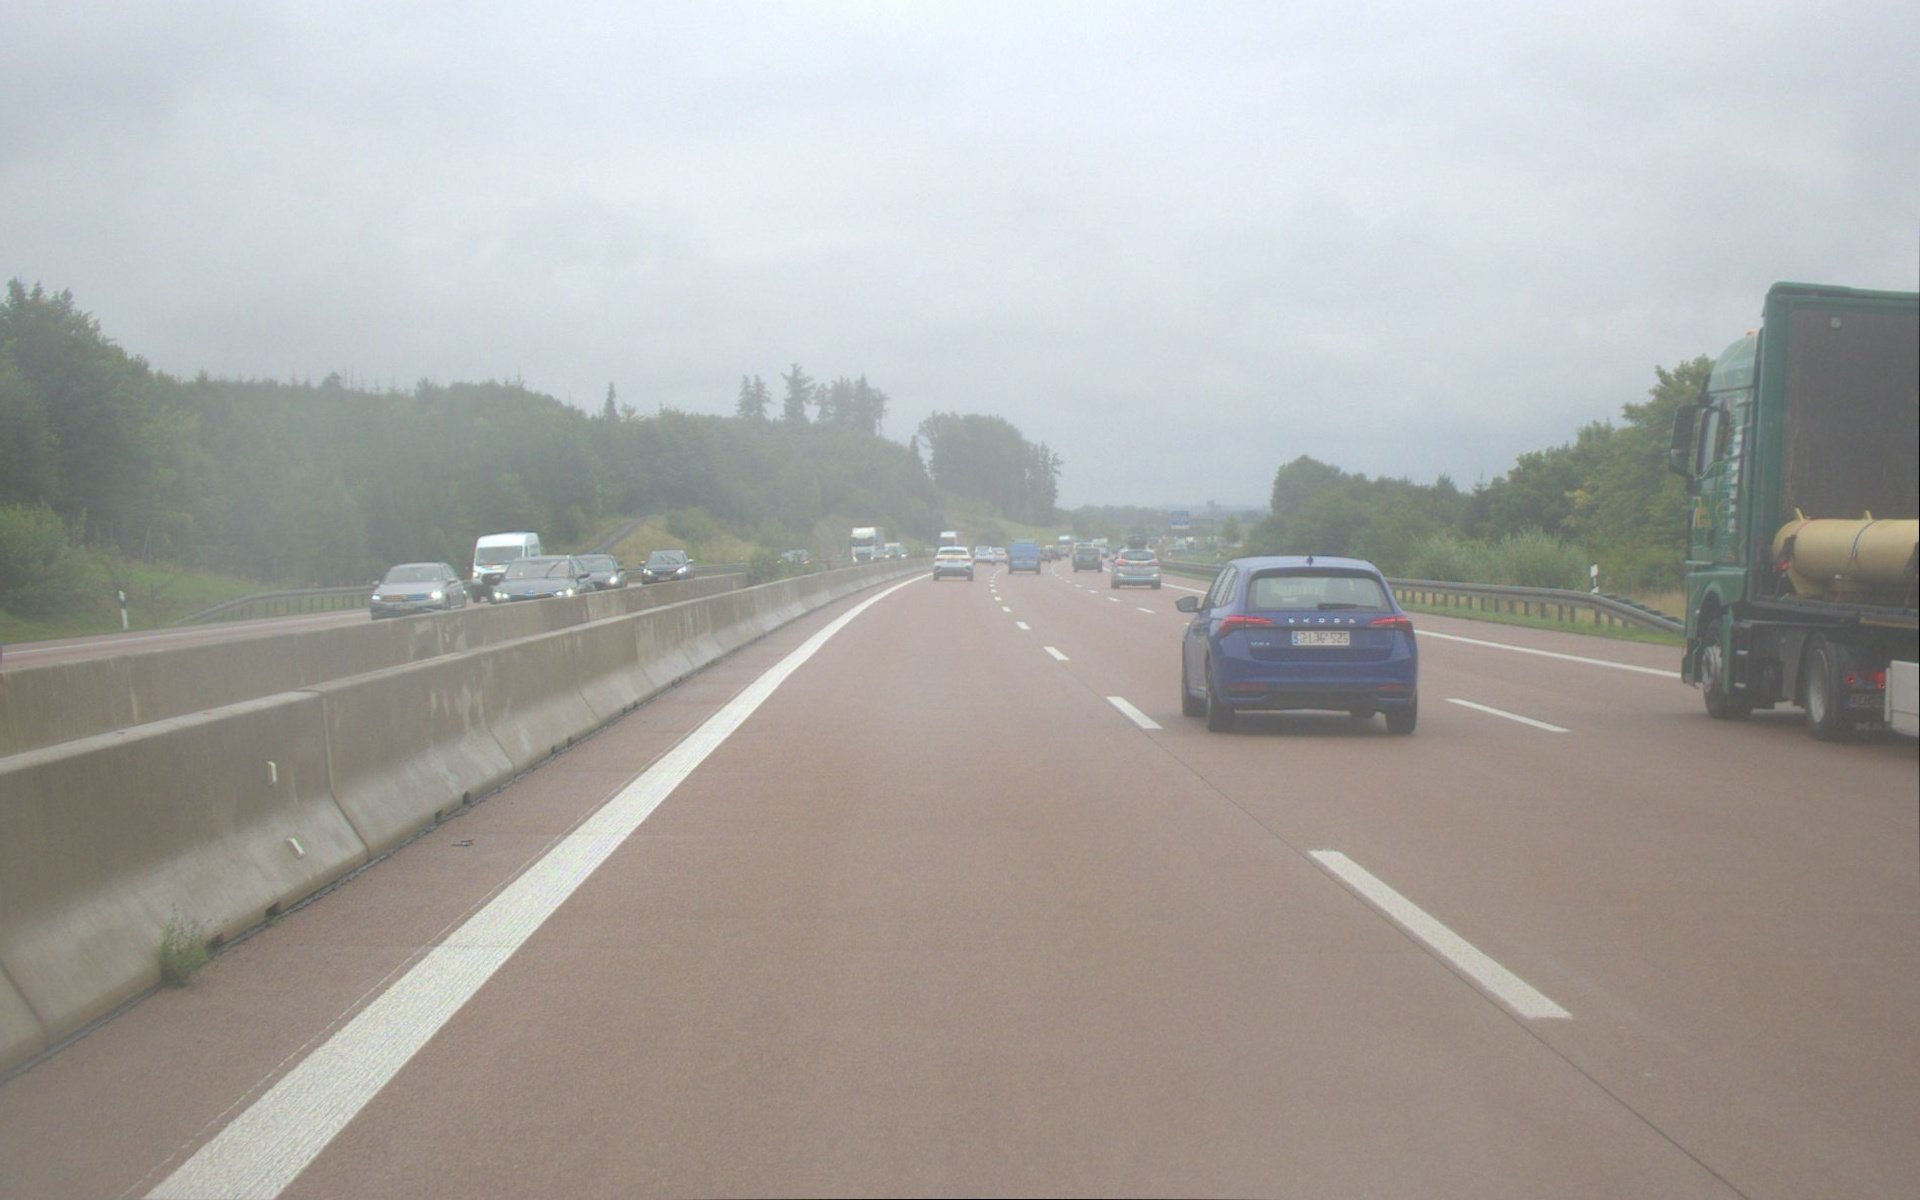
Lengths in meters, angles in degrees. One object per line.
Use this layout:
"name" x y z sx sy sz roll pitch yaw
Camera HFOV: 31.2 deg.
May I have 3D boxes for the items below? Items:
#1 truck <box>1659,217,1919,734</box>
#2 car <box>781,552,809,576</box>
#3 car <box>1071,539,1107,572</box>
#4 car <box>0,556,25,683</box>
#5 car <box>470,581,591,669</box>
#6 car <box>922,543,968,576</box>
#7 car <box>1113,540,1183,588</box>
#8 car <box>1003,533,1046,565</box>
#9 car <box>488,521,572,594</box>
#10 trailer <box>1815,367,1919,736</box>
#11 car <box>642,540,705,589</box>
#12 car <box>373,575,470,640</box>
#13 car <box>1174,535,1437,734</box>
"truck" 8.315 -0.924 29.835 2.897 3.951 6.989 1 0 -1
"car" -11.489 -2.523 239.601 1.716 1.577 4.316 -1 0 0
"car" 8.147 -2.816 217.767 1.993 2.007 4.000 1 0 -1
"car" -12.703 0.287 41.049 1.788 1.551 4.866 -2 1 -1
"car" -8.813 0.504 71.005 1.857 1.701 6.164 1 0 -1
"car" -0.701 -1.849 158.554 1.874 1.439 4.877 1 0 -3
"car" 7.167 -1.369 131.636 2.322 1.744 4.877 1 0 -1
"car" 3.716 -2.923 198.881 2.322 1.744 4.877 1 0 -1
"car" -15.925 -1.558 127.562 2.224 2.576 6.254 1 0 1
"trailer" 8.411 -0.335 21.945 2.881 2.666 11.398 1 0 -1
"car" -11.014 -1.389 132.450 1.993 1.820 4.687 0 1 0
"car" -13.037 0.154 83.428 1.649 1.385 4.811 -3 1 -1
"car" 2.901 0.284 29.622 1.771 1.559 4.146 1 0 -1
